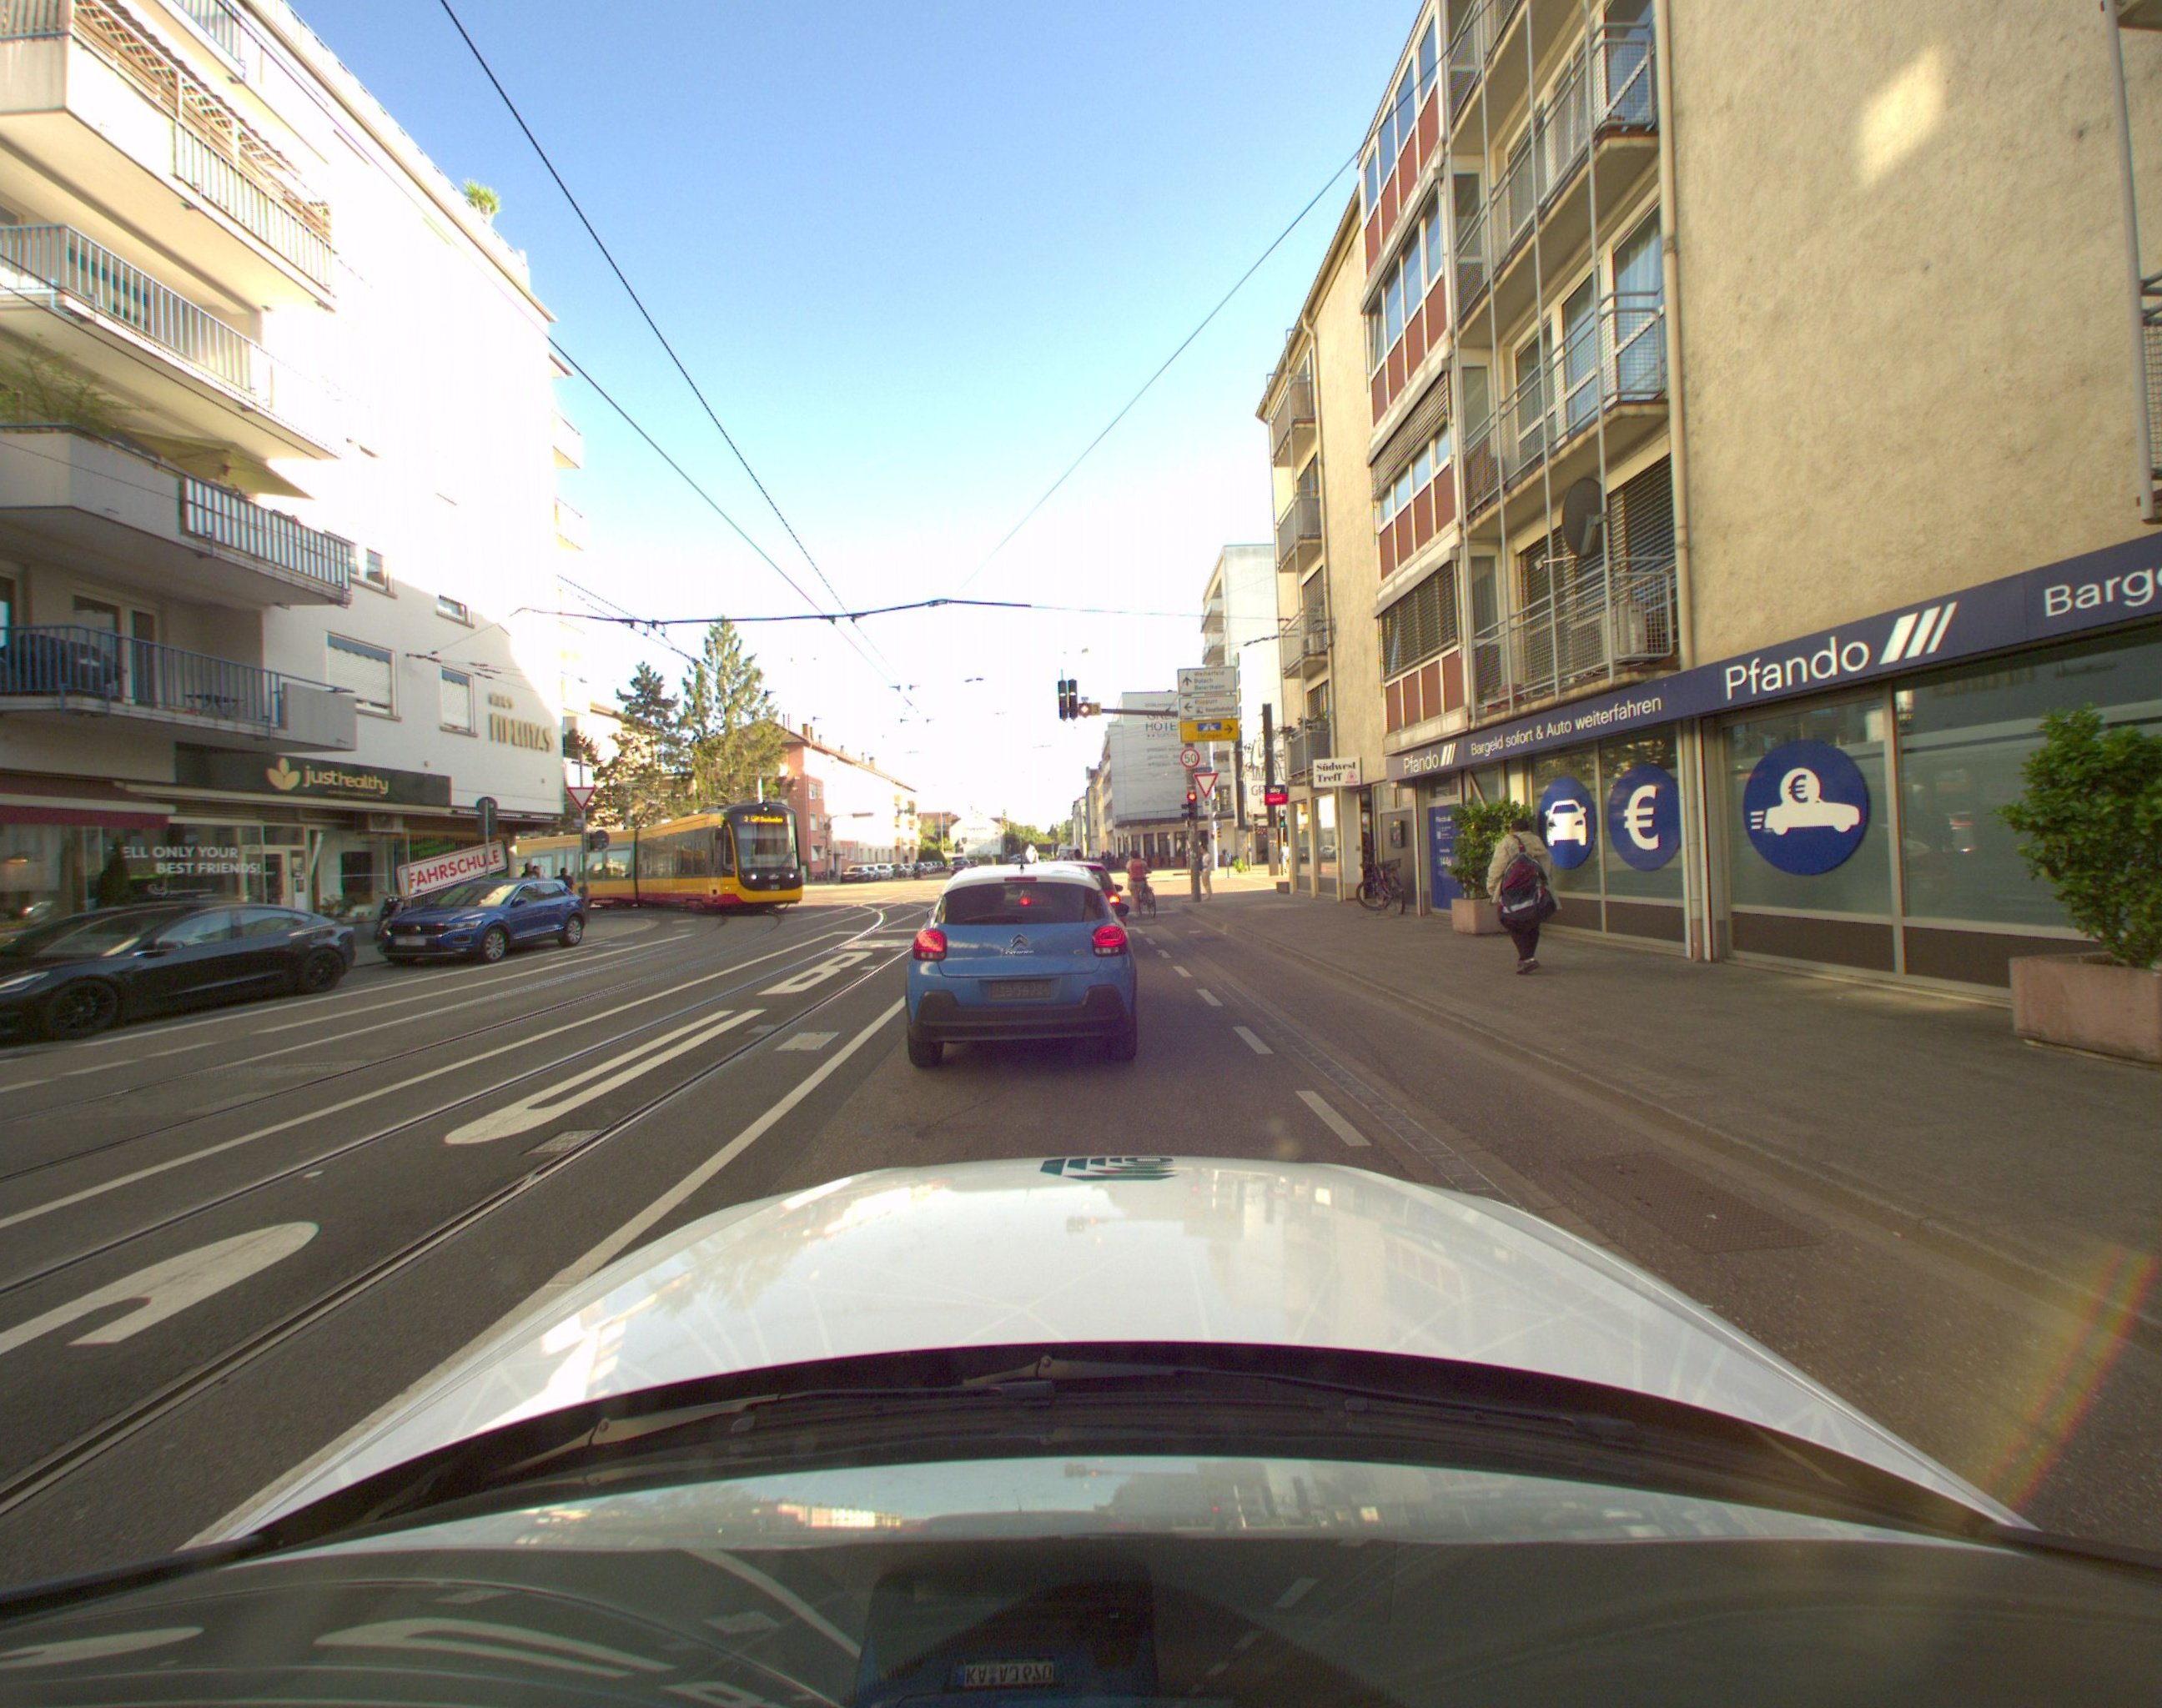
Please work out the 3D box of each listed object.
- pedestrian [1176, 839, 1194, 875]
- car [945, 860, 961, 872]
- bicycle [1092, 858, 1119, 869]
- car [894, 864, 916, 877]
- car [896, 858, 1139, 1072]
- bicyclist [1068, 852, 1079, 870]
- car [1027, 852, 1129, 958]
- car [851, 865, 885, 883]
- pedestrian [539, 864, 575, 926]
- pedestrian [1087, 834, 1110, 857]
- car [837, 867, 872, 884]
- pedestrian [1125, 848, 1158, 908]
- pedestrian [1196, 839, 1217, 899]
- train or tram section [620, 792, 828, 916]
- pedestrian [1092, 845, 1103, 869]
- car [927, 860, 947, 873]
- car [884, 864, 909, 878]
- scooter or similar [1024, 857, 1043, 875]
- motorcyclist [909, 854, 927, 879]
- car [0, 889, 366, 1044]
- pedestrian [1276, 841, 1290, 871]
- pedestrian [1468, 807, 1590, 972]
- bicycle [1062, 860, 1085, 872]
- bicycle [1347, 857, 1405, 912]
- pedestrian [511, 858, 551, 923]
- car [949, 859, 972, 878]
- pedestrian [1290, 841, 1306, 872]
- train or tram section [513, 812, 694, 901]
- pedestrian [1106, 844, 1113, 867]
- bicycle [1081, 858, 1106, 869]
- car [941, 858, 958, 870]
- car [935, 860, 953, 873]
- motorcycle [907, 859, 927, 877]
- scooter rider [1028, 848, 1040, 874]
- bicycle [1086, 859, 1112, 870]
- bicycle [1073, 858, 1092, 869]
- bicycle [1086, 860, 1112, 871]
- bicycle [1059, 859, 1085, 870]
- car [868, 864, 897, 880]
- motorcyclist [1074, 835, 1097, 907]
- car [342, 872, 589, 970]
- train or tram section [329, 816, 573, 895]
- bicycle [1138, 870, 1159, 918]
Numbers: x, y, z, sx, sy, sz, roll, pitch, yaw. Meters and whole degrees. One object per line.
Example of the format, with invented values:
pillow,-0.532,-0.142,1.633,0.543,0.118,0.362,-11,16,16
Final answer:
pedestrian,5.992,0.179,46.923,0.922,2.014,0.760,0,-1,1
car,-19.203,1.763,121.917,1.841,1.687,3.872,0,-1,-1
bicycle,1.993,0.775,66.067,2.130,0.901,0.366,0,-1,-7
car,-20.020,1.846,92.718,1.728,1.498,3.996,0,-1,-2
car,-0.378,0.771,7.303,1.648,1.444,3.524,0,-1,2
bicyclist,-0.602,0.551,64.208,0.739,1.477,0.566,-1,-1,23
car,0.006,0.756,13.247,1.419,1.467,2.925,-2,-1,2
car,-19.329,1.776,73.931,1.808,1.498,4.302,0,-1,2
pedestrian,-15.524,1.205,24.139,0.569,1.805,0.699,0,-1,1
pedestrian,1.625,-0.721,73.692,1.986,2.014,4.001,0,-1,2
car,-19.252,1.808,69.432,1.787,1.421,3.996,0,-1,1
pedestrian,1.502,0.585,20.312,0.774,1.460,0.682,0,-1,1
pedestrian,3.756,0.444,24.398,0.515,1.783,0.595,0,-1,0
train or tram section,-13.280,0.109,29.216,3.089,3.593,12.479,-4,1,-41
pedestrian,1.418,0.246,69.269,0.635,2.014,0.717,0,-1,-34
car,-18.926,1.674,106.975,1.978,1.687,3.998,0,-1,-1
car,-19.579,1.799,86.696,1.781,1.498,3.998,0,-1,-1
scooter or similar,-3.462,0.886,59.227,1.345,1.269,0.443,-2,0,0
motorcyclist,-13.594,1.058,67.860,1.182,2.013,1.275,-2,0,-1
car,-12.015,1.284,10.448,1.816,1.387,4.425,-2,0,-2
pedestrian,10.824,0.129,43.611,0.730,1.601,0.751,-1,-1,15
pedestrian,4.523,0.345,8.269,0.822,1.593,0.751,0,-1,1
bicycle,-0.574,0.964,64.195,1.837,0.903,0.352,-1,-1,23
bicycle,5.688,0.569,15.774,0.540,0.998,1.706,0,-1,2
pedestrian,-17.250,1.133,25.547,0.767,2.014,0.694,0,-1,-4
car,-11.337,1.341,76.850,1.770,1.666,3.854,0,-1,-2
pedestrian,11.727,0.129,44.012,0.747,1.657,0.886,-1,-1,12
train or tram section,-21.582,0.124,36.657,8.968,3.631,2.852,-1,-1,29
pedestrian,2.444,0.149,70.148,0.575,2.014,0.625,0,-1,-1
bicycle,1.047,0.826,68.460,2.130,0.901,0.366,0,-1,-7
car,-18.944,1.482,117.321,1.828,1.687,3.998,0,-1,-1
car,-18.877,1.681,112.086,1.877,1.687,3.998,0,-1,-1
motorcycle,-13.605,1.164,67.604,0.921,1.486,3.724,0,-1,-1
scooter rider,-3.394,0.499,59.222,0.719,1.832,0.717,-3,-1,1
bicycle,1.517,0.874,67.267,2.130,0.901,0.366,0,-1,-7
bicycle,0.147,0.829,69.555,1.765,0.901,0.369,-1,-1,36
bicycle,1.465,0.917,67.677,2.130,0.901,0.366,0,-1,-7
bicycle,-0.716,0.882,66.398,2.130,0.901,0.366,0,-1,-7
car,-19.442,1.738,79.951,1.781,1.511,4.150,0,-1,1
motorcyclist,0.113,0.404,19.751,0.524,1.716,0.717,0,-1,2
car,-11.975,1.210,16.258,1.864,1.531,4.068,-2,0,-2
train or tram section,-32.189,0.128,41.355,14.097,3.632,2.768,-1,-1,21
bicycle,1.691,0.977,20.609,0.426,1.123,1.999,0,-1,2
